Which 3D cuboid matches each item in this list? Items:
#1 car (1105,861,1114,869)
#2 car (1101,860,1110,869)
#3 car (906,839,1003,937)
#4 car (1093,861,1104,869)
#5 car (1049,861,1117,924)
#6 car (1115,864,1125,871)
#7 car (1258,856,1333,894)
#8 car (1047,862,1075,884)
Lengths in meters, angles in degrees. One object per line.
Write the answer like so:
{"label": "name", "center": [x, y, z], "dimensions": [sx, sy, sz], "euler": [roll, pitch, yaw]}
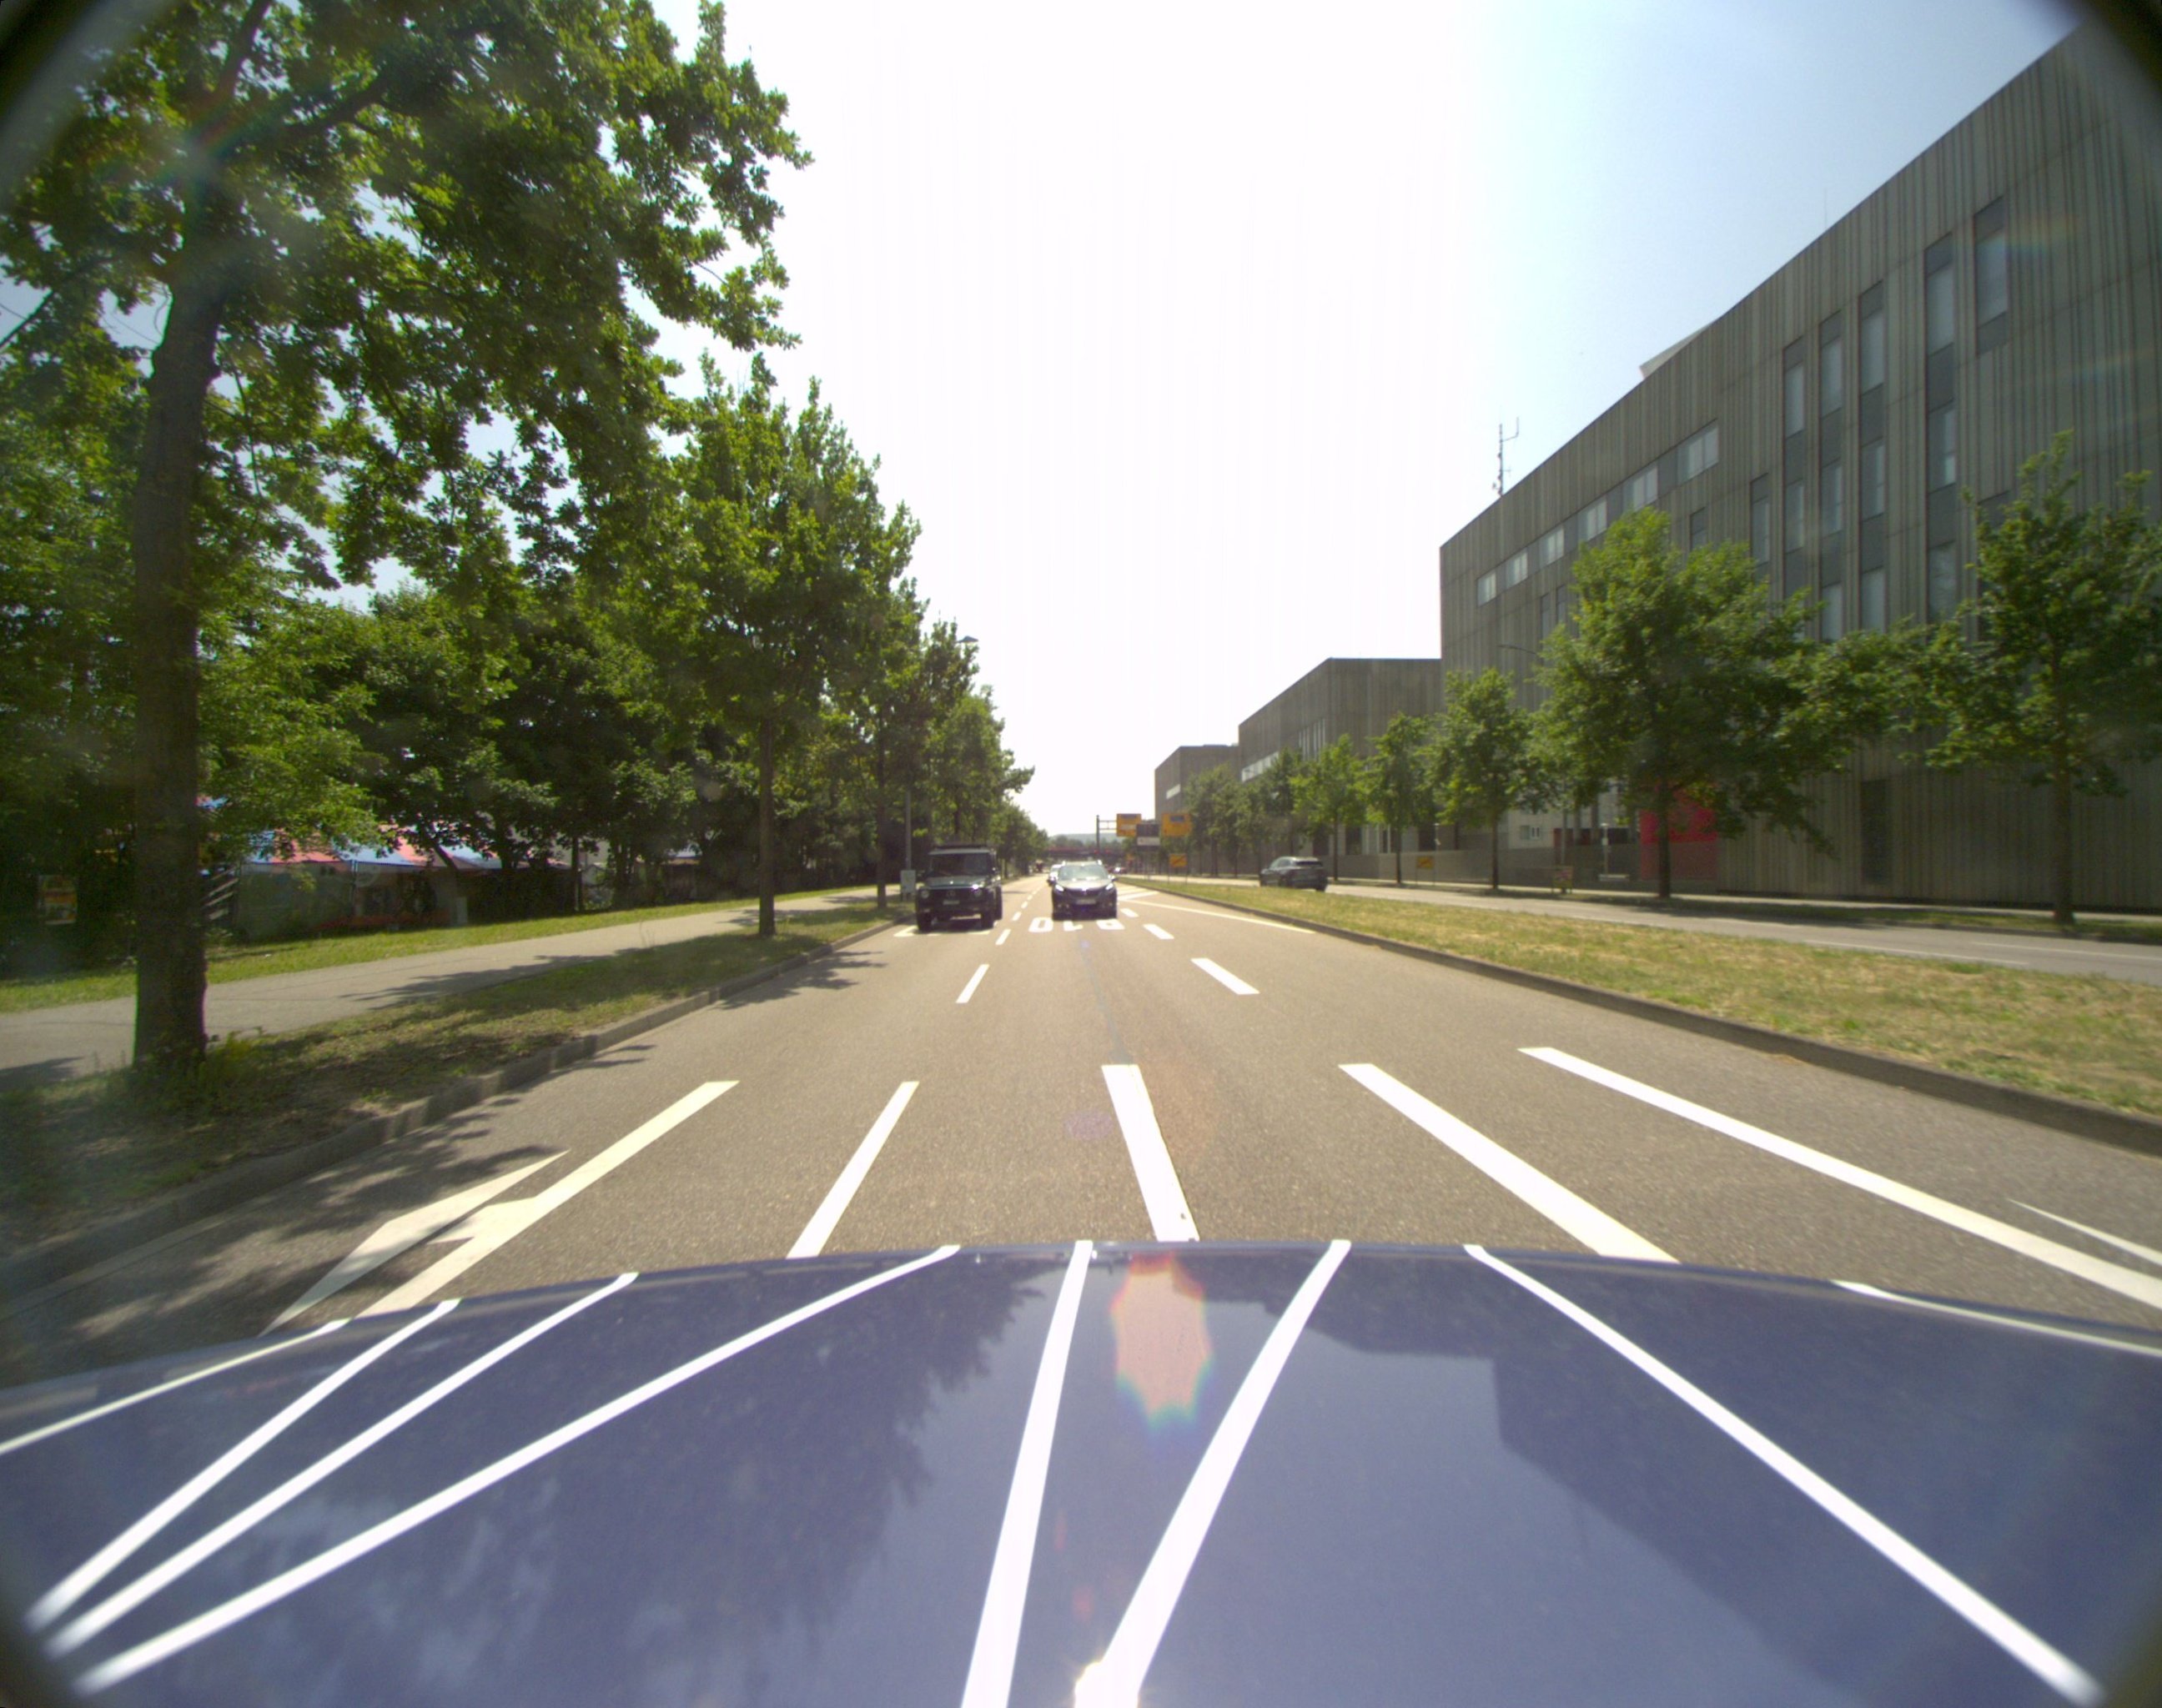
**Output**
{"label": "car", "center": [6.821, 2.590, 182.664], "dimensions": [1.815, 1.736, 4.644], "euler": [-1, 0, -4]}
{"label": "car", "center": [5.371, 2.356, 166.413], "dimensions": [1.862, 1.914, 3.999], "euler": [-1, 0, -2]}
{"label": "car", "center": [-3.052, 0.779, 19.269], "dimensions": [1.842, 2.141, 4.557], "euler": [-1, 0, -2]}
{"label": "car", "center": [3.178, 2.145, 141.953], "dimensions": [1.712, 1.463, 3.940], "euler": [1, -1, -4]}
{"label": "car", "center": [0.073, 1.010, 21.132], "dimensions": [1.619, 1.502, 4.459], "euler": [-3, -1, 0]}
{"label": "car", "center": [8.494, 3.007, 165.837], "dimensions": [1.815, 1.418, 4.359], "euler": [0, -1, -1]}
{"label": "car", "center": [9.720, 0.900, 34.801], "dimensions": [1.898, 1.601, 4.533], "euler": [-1, 0, -4]}
{"label": "car", "center": [-1.392, 1.272, 52.513], "dimensions": [1.817, 1.455, 4.000], "euler": [-1, -1, -2]}
